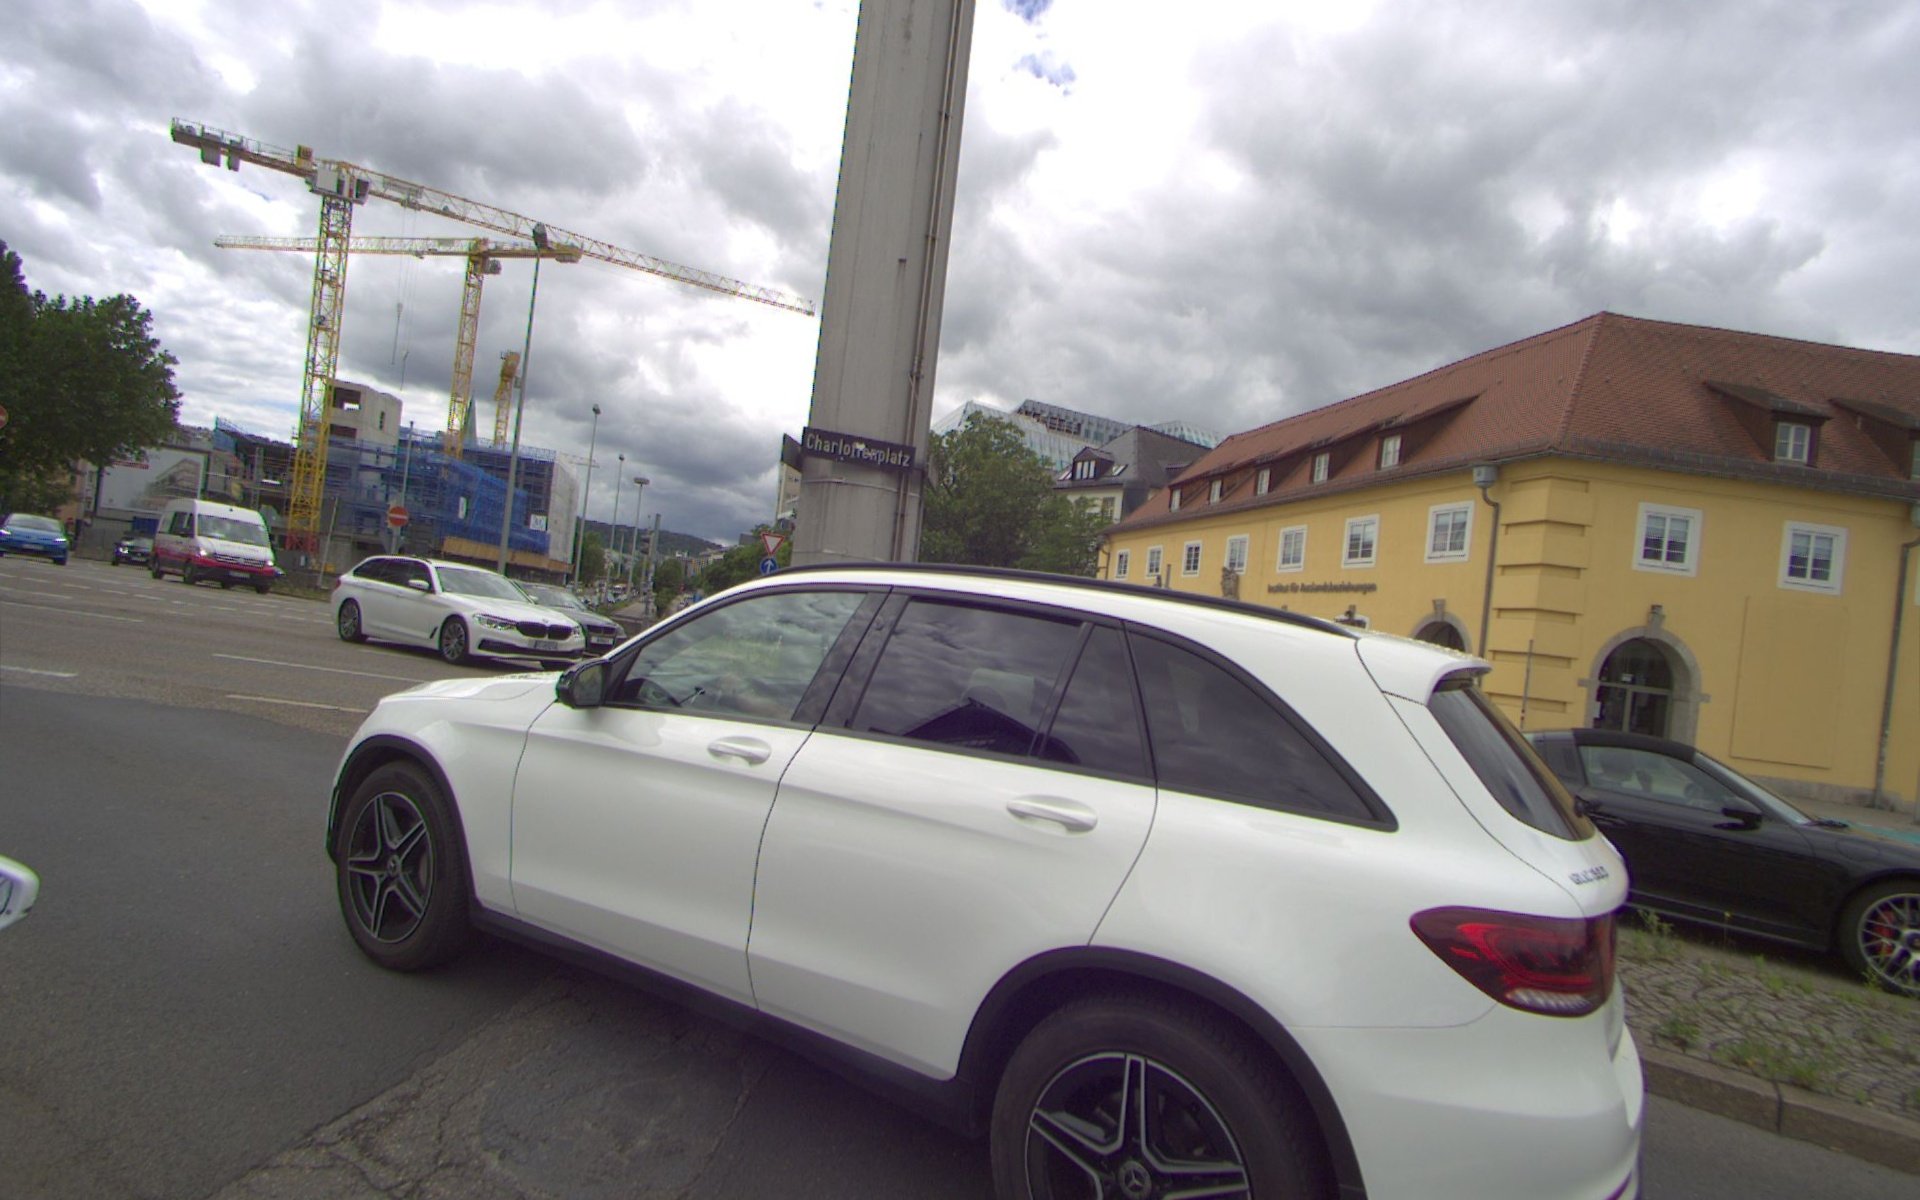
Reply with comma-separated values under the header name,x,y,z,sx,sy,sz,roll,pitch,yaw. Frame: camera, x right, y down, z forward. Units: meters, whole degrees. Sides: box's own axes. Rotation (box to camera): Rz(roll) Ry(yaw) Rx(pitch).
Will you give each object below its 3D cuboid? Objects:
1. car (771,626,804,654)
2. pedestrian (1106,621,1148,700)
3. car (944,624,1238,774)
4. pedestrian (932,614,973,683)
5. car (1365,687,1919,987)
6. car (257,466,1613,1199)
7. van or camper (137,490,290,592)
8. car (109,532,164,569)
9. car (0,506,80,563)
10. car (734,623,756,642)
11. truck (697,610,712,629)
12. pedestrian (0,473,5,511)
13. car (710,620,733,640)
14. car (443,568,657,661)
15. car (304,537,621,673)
name,x,y,z,sx,sy,sz,roll,pitch,yaw
car,-13.101,3.031,76.373,1.969,1.654,3.988,8,-1,-15
pedestrian,4.283,1.552,25.797,0.553,1.918,0.633,7,0,-35
car,1.810,1.339,14.169,3.587,1.434,1.727,7,-1,32
pedestrian,-0.220,1.353,28.154,0.741,1.810,0.825,7,-1,-16
car,5.181,1.577,7.103,3.990,1.279,1.674,7,-1,31
car,-0.372,0.616,3.554,4.262,1.666,1.804,7,0,32
van or camper,-22.752,-1.856,30.552,6.073,2.505,2.140,6,-2,40
car,-40.137,-2.412,48.999,1.826,1.483,3.954,8,-2,-41
car,-31.106,-2.241,33.489,4.562,1.499,1.943,6,-3,40
car,-22.963,3.471,107.584,1.967,1.654,3.993,8,-1,-10
truck,-39.147,3.025,154.270,1.969,2.482,3.989,8,0,-13
pedestrian,-21.556,-1.843,22.101,0.639,1.978,0.603,8,-1,-44
car,-25.095,3.129,105.868,1.967,1.654,3.993,8,-1,-10
car,-8.543,0.285,20.875,4.339,1.348,1.758,6,-3,31
car,-7.847,0.050,15.721,4.957,1.521,1.997,6,-2,32
